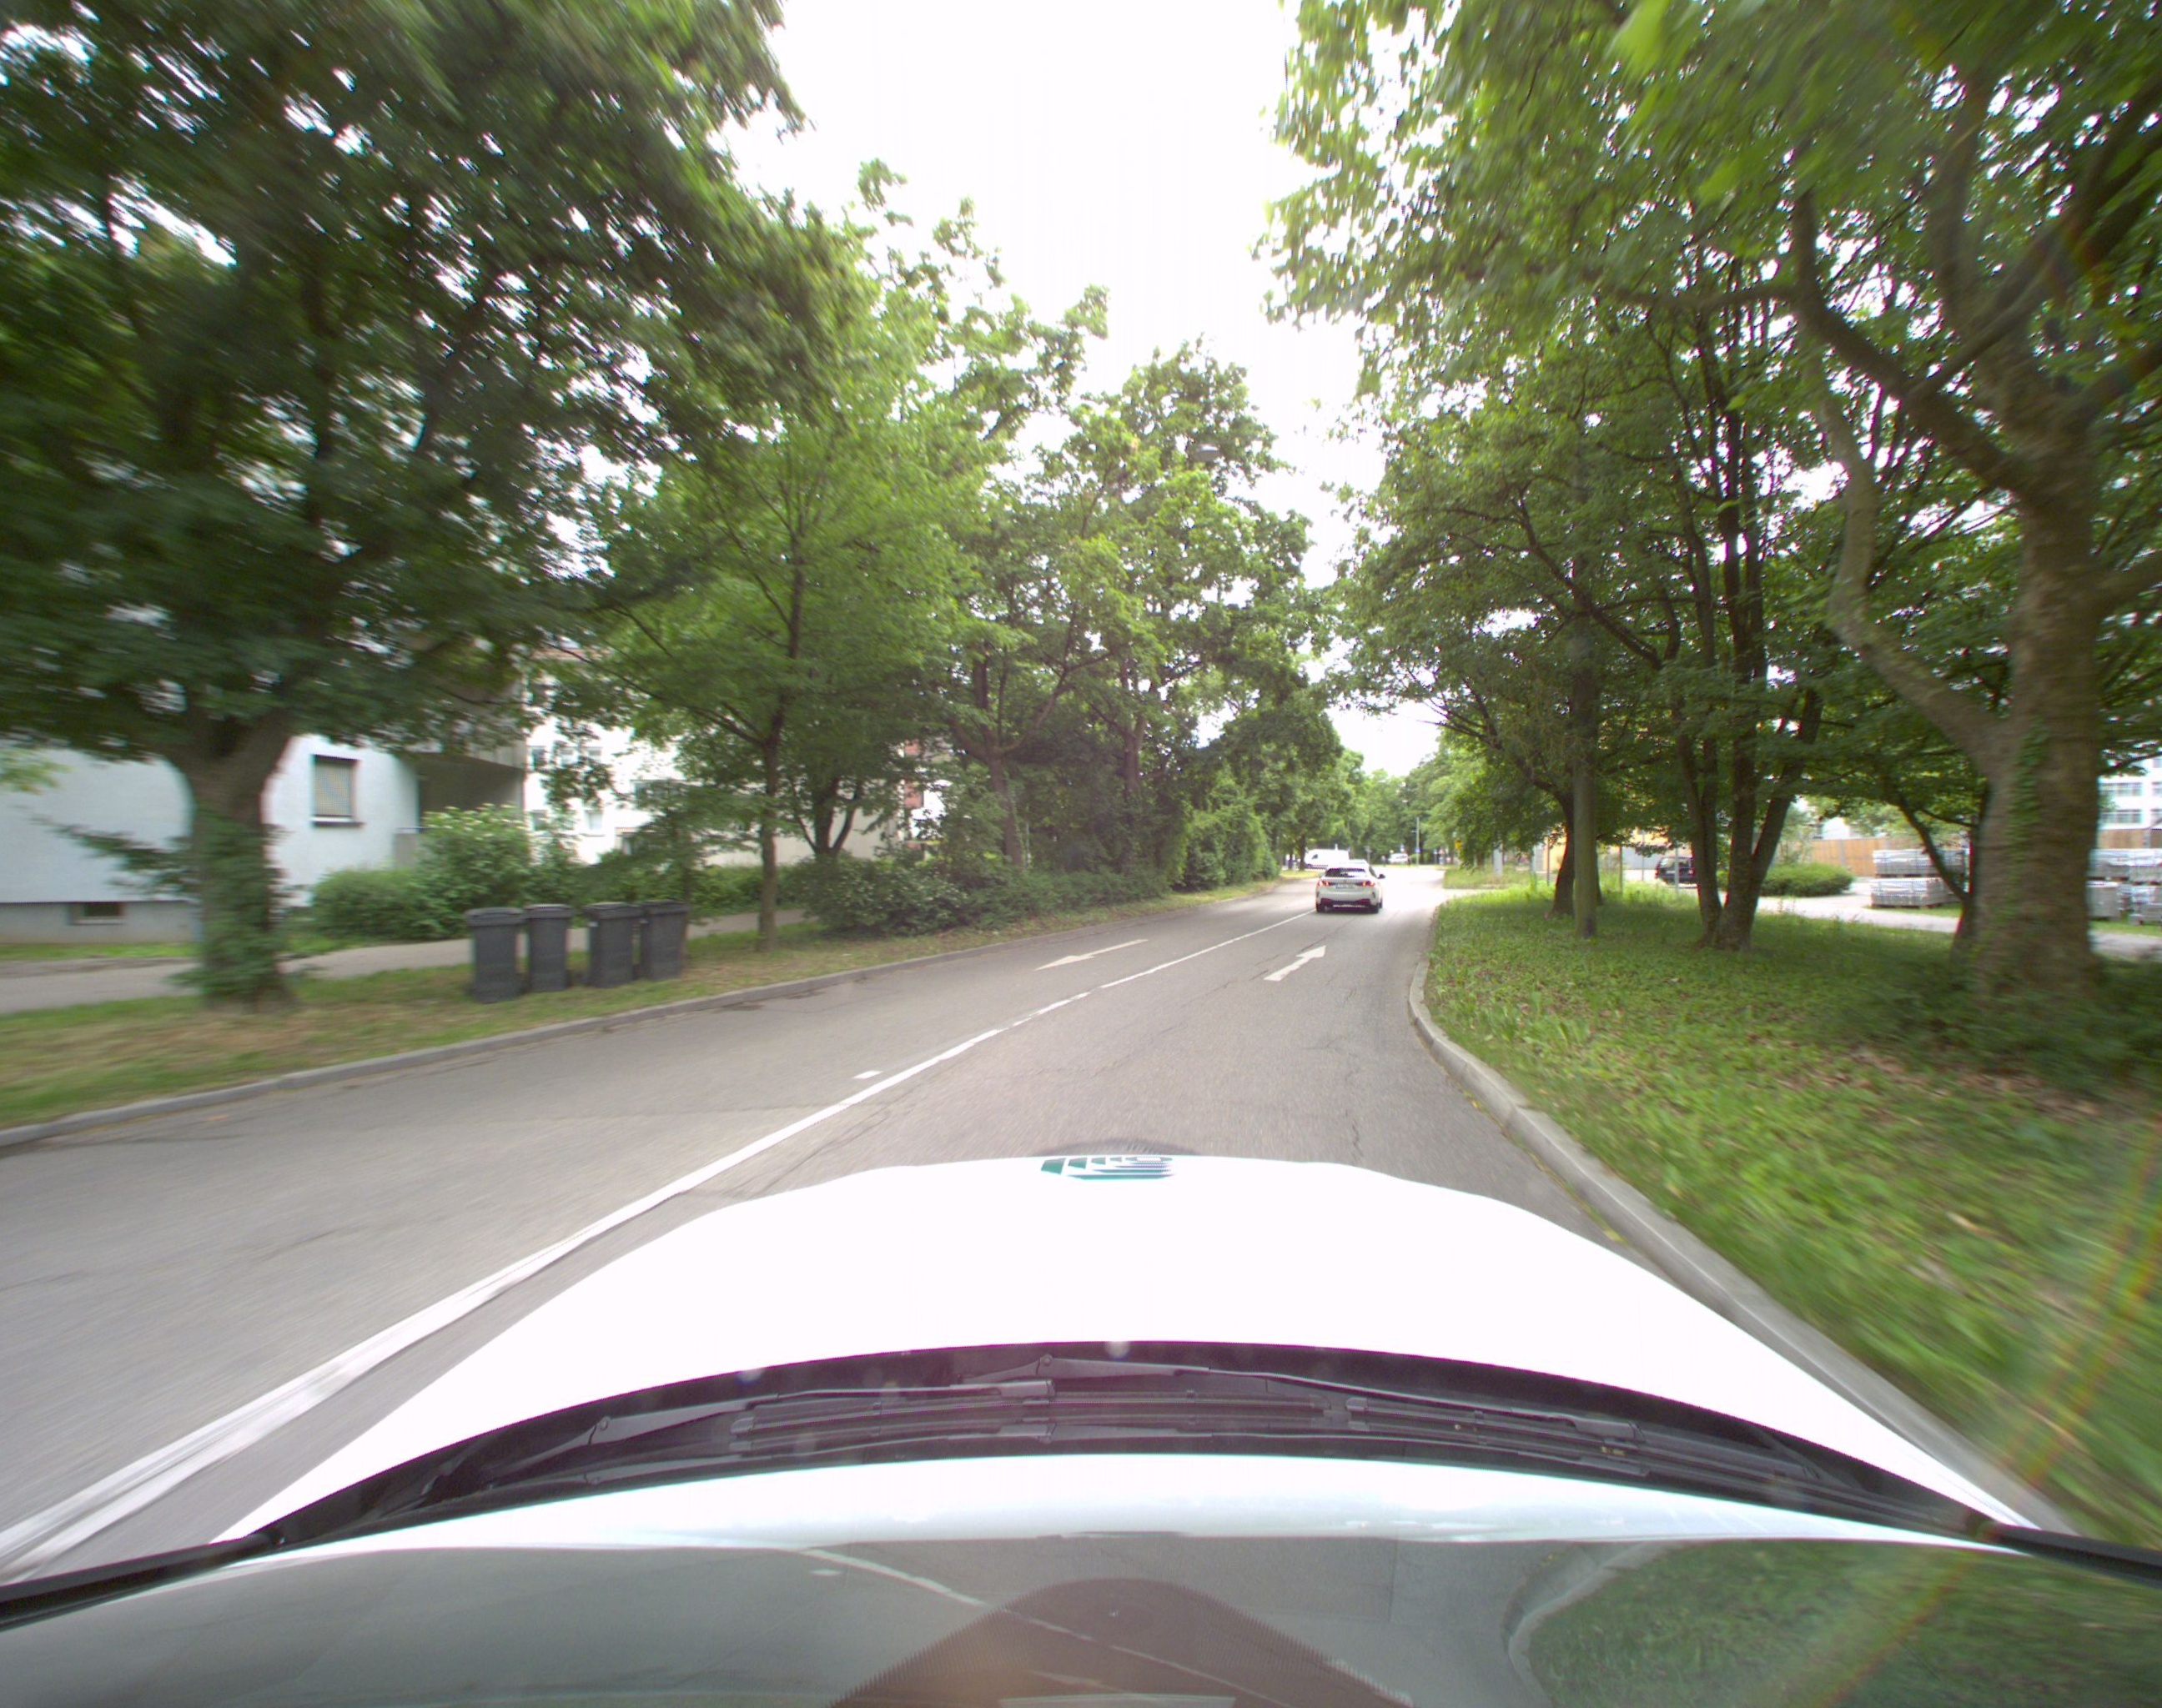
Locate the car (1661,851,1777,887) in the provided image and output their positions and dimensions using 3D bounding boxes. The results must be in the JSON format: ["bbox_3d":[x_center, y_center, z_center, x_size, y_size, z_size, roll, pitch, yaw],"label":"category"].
[{"bbox_3d":[28.987,0.700,37.004,4.742,1.517,1.859,-1,-2,-19],"label":"car"}]

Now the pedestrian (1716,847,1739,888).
[{"bbox_3d":[28.108,0.584,35.406,0.496,1.725,0.535,-3,1,-5],"label":"pedestrian"}]

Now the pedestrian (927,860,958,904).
[{"bbox_3d":[-4.912,0.974,28.910,0.602,1.500,0.877,3,1,25],"label":"pedestrian"}]

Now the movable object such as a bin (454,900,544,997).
[{"bbox_3d":[-5.938,0.931,8.301,0.626,0.863,0.722,2,1,-44],"label":"movable object such as a bin"}]

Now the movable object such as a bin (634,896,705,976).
[{"bbox_3d":[-4.891,0.954,9.679,0.581,0.845,0.593,2,1,-44],"label":"movable object such as a bin"}]

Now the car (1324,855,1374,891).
[{"bbox_3d":[12.483,0.864,37.774,1.906,1.574,4.021,0,-1,22],"label":"car"}]

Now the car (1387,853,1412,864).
[{"bbox_3d":[74.089,0.953,189.474,5.396,2.297,2.120,2,1,-26],"label":"car"}]

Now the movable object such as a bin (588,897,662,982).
[{"bbox_3d":[-5.203,0.951,9.294,0.581,0.866,0.593,2,1,-44],"label":"movable object such as a bin"}]

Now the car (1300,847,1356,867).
[{"bbox_3d":[32.665,0.420,107.592,6.963,2.521,2.076,1,1,-13],"label":"car"}]

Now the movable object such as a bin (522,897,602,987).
[{"bbox_3d":[-5.656,0.937,8.876,0.596,0.879,0.613,2,1,-44],"label":"movable object such as a bin"}]

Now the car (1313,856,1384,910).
[{"bbox_3d":[8.418,0.857,25.381,1.780,1.517,4.229,0,-1,22],"label":"car"}]

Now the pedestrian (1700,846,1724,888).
[{"bbox_3d":[27.354,0.554,35.306,0.472,1.754,0.583,-3,1,-5],"label":"pedestrian"}]
